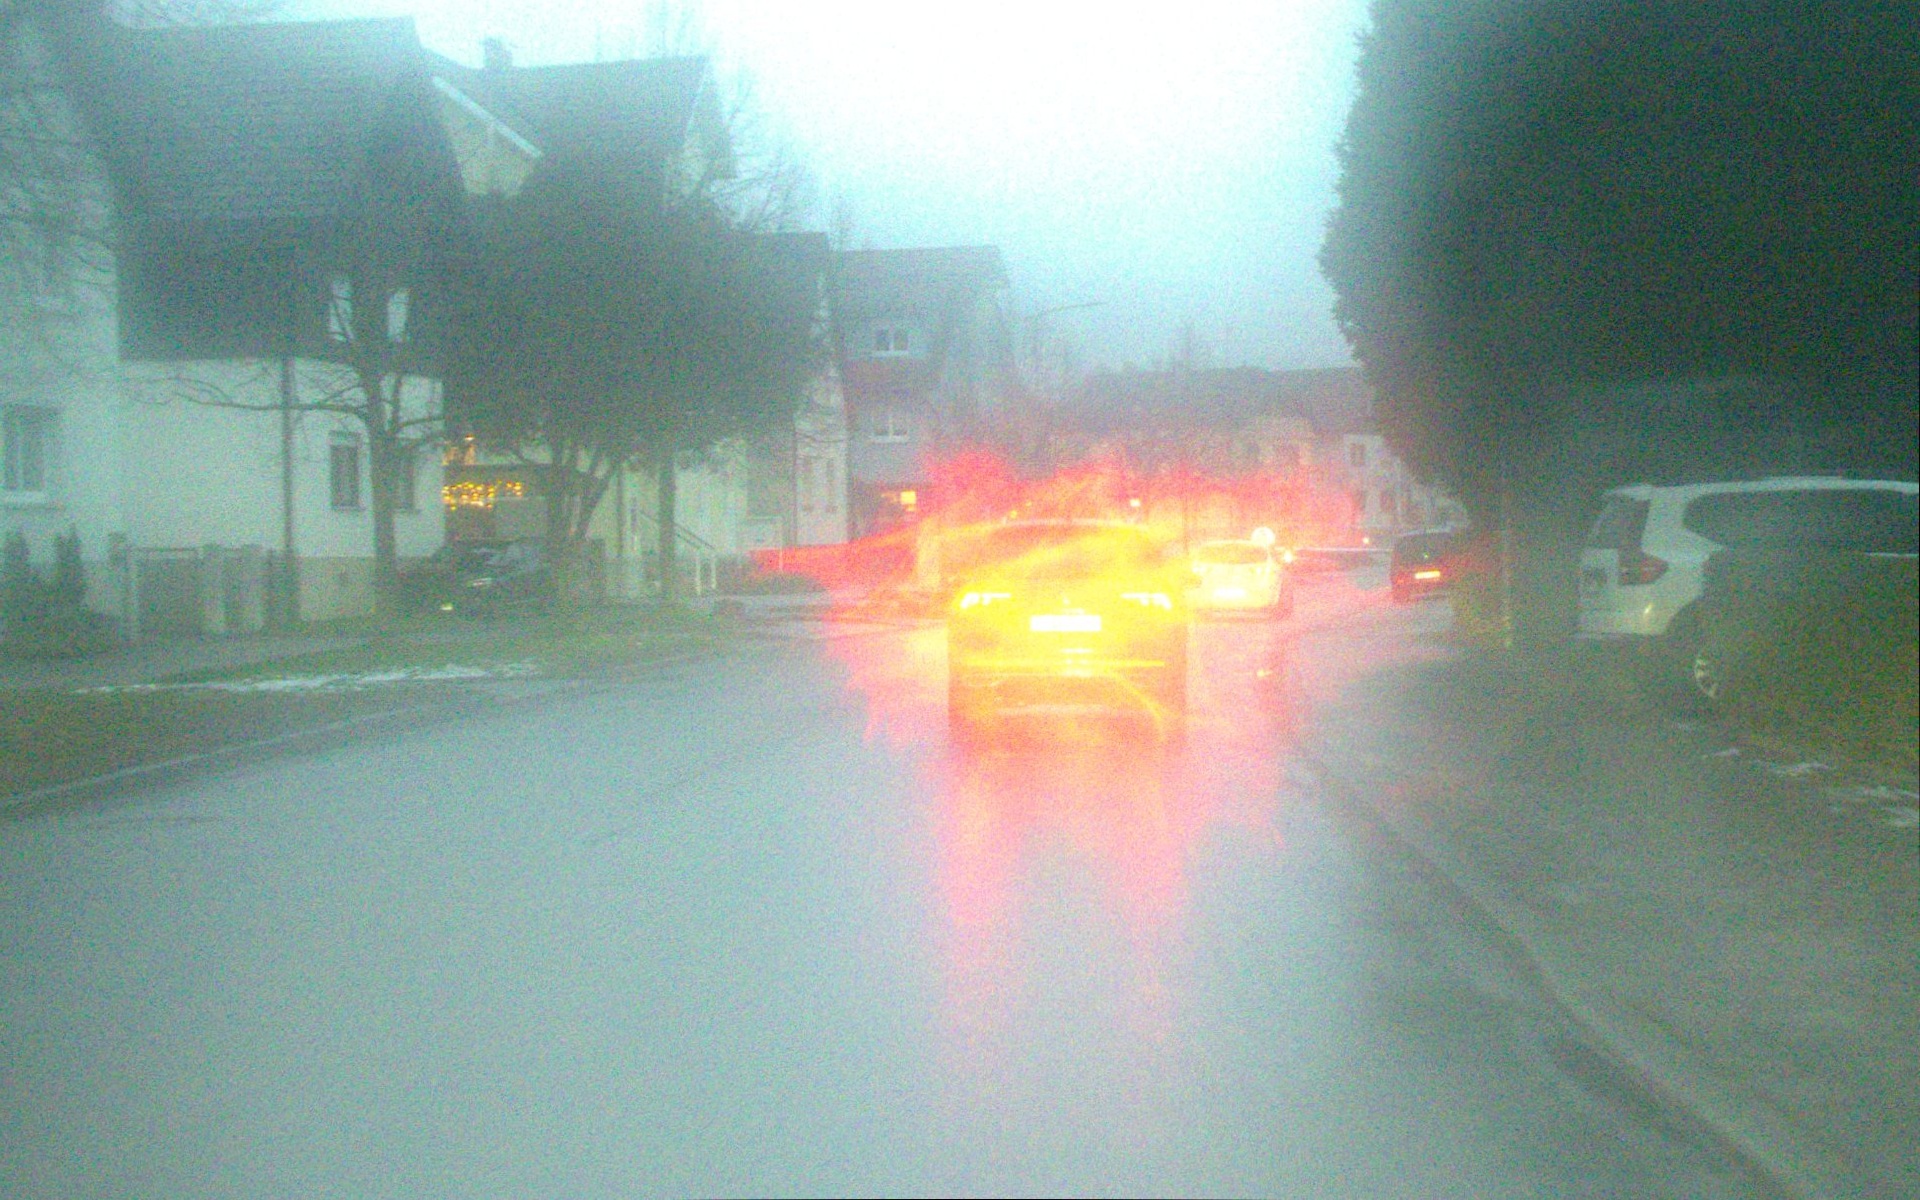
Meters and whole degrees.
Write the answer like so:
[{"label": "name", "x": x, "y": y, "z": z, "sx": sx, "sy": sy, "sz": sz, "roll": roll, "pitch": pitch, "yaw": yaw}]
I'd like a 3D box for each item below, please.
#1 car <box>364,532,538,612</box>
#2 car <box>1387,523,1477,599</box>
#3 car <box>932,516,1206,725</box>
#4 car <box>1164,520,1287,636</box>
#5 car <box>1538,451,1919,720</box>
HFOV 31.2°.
[{"label": "car", "x": -8.977, "y": -0.508, "z": 60.937, "sx": 1.783, "sy": 1.361, "sz": 3.998, "roll": 1, "pitch": 1, "yaw": 12}, {"label": "car", "x": 10.202, "y": -0.843, "z": 74.161, "sx": 1.650, "sy": 1.535, "sz": 3.389, "roll": -2, "pitch": 0, "yaw": 12}, {"label": "car", "x": 0.804, "y": 0.113, "z": 27.067, "sx": 1.993, "sy": 1.520, "sz": 4.000, "roll": 0, "pitch": 1, "yaw": 0}, {"label": "car", "x": 4.845, "y": -0.409, "z": 62.270, "sx": 1.994, "sy": 2.007, "sz": 3.999, "roll": 0, "pitch": 1, "yaw": 7}, {"label": "car", "x": 6.496, "y": -0.174, "z": 24.534, "sx": 4.322, "sy": 1.726, "sz": 2.000, "roll": -3, "pitch": 1, "yaw": 0}]
